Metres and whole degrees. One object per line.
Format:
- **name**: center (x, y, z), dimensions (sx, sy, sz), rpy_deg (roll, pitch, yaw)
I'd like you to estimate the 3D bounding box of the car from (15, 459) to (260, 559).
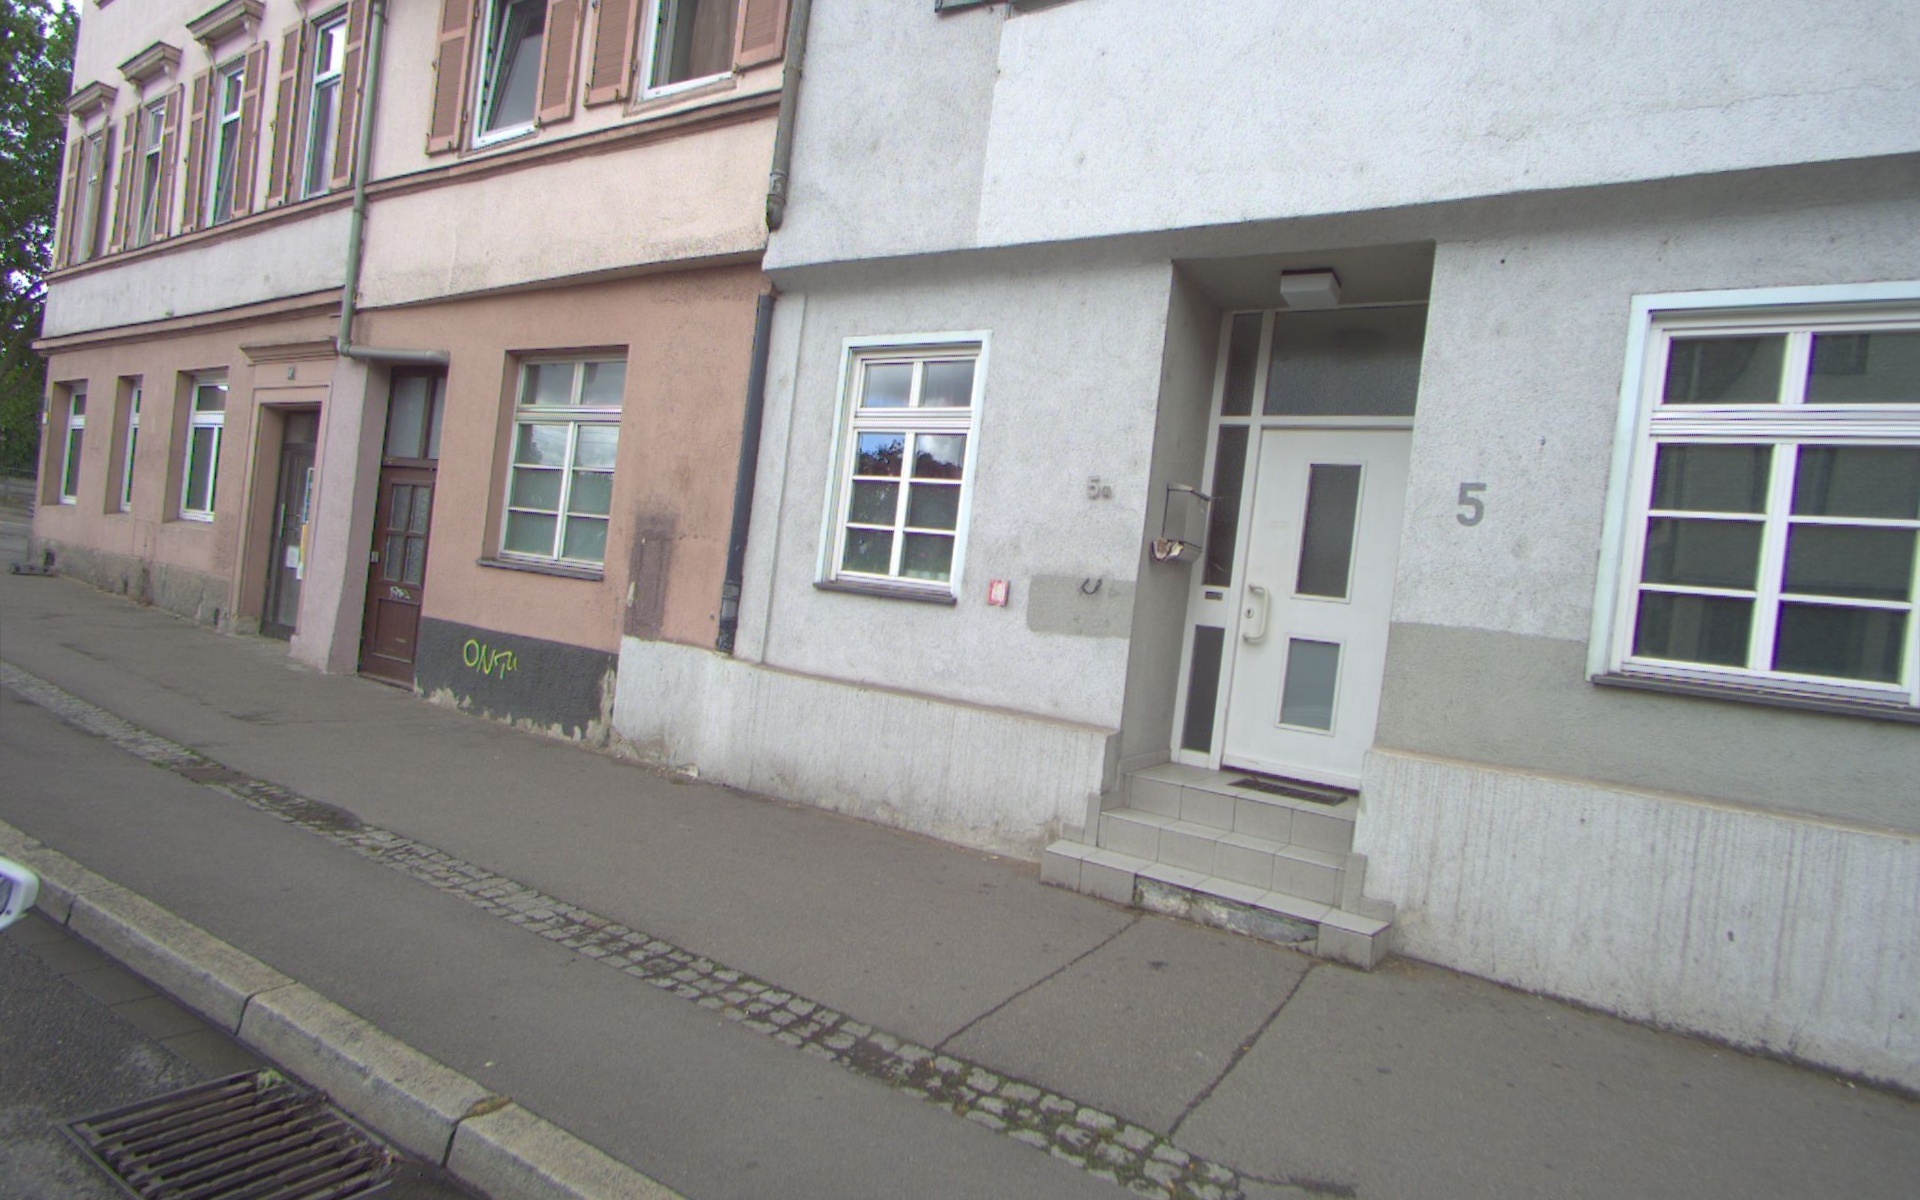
- **car**: center (-19.052, -2.068, 23.449), dimensions (1.801, 1.593, 4.067), rpy_deg (9, 1, 39)
